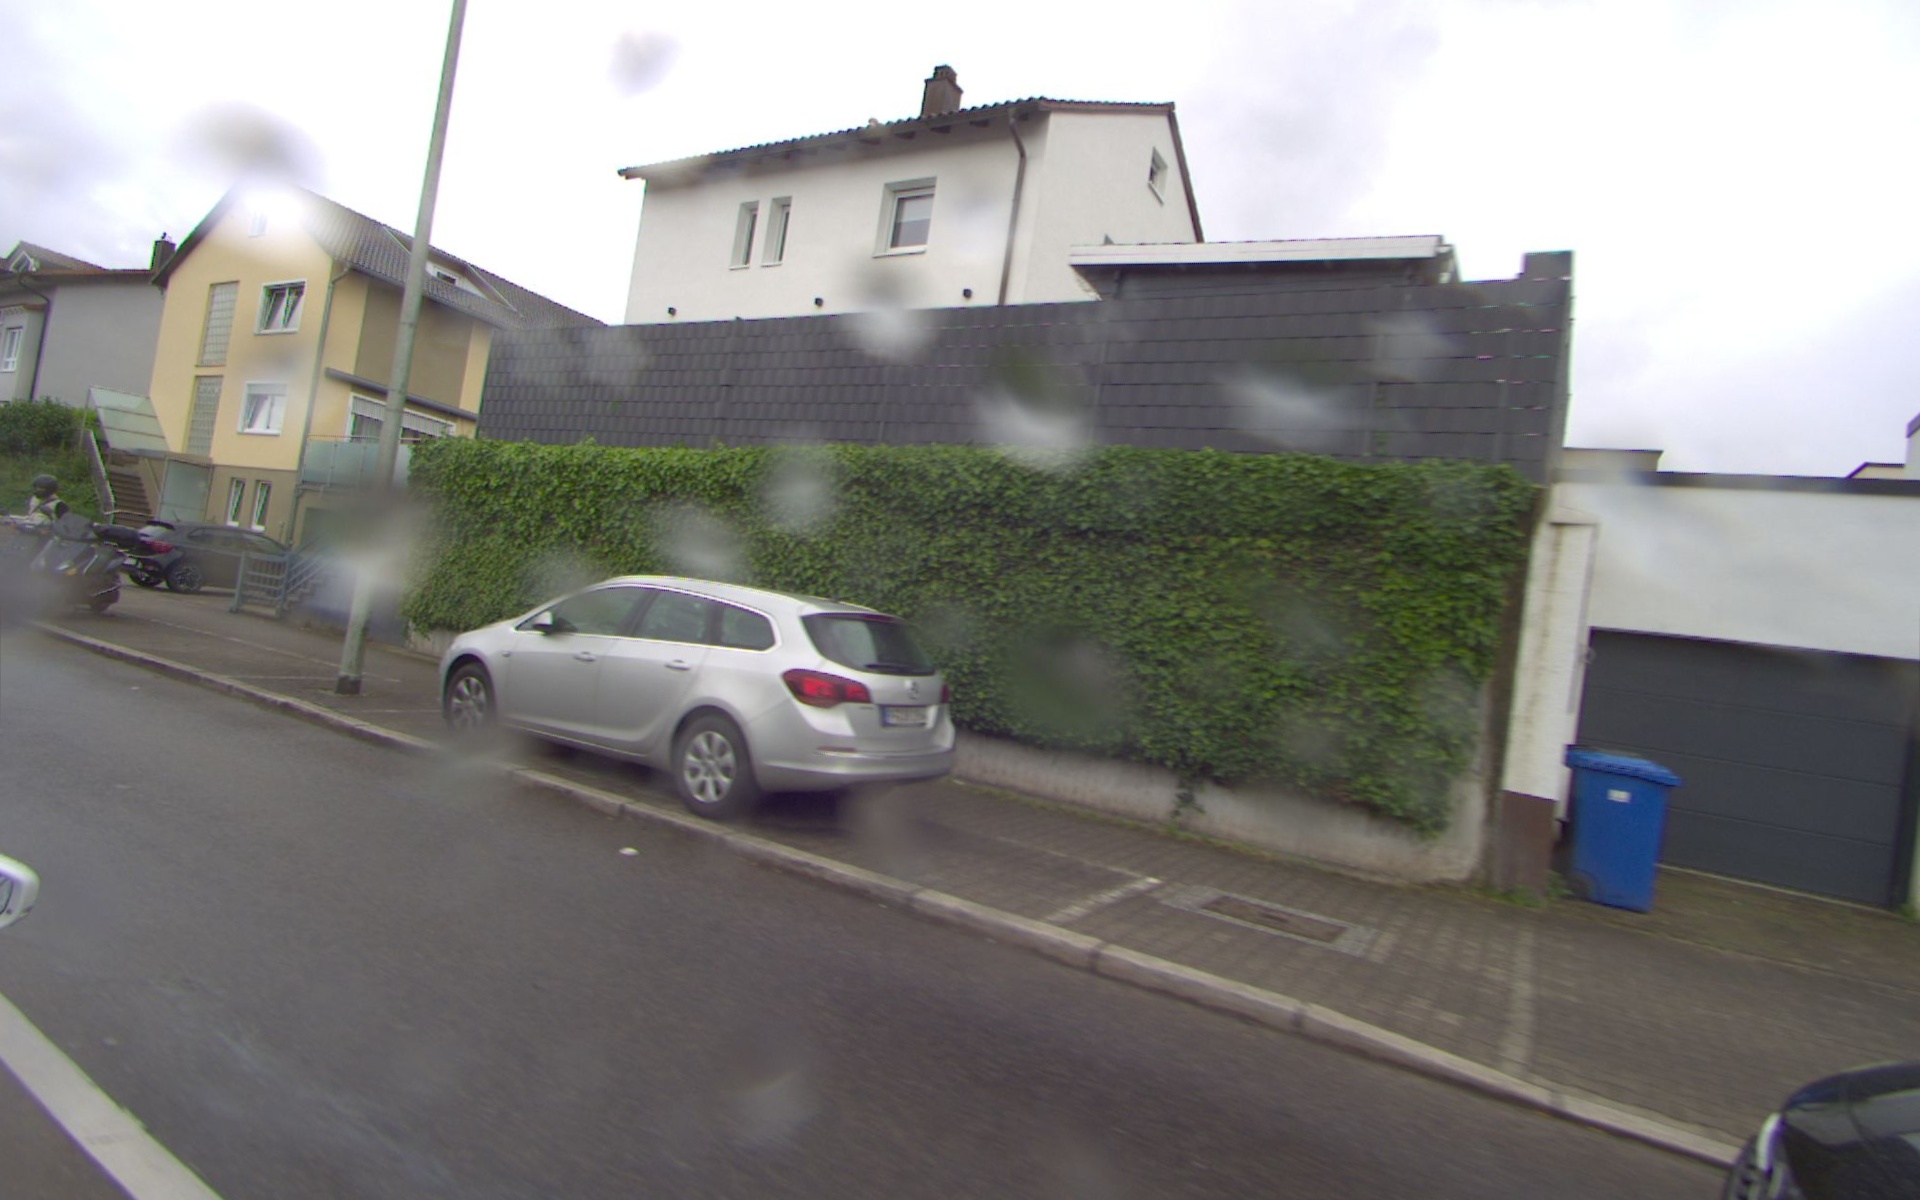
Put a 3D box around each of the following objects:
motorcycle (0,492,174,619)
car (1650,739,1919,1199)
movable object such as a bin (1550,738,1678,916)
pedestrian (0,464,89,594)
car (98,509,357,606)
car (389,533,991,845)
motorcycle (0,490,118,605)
[{"bbox_3d":[-11.704,-0.554,13.509,0.809,1.468,2.085,8,-1,-12],"label":"motorcycle"},{"bbox_3d":[3.181,1.204,0.995,3.934,1.466,1.760,7,-2,32],"label":"car"},{"bbox_3d":[4.848,1.656,7.498,0.656,1.119,0.596,7,1,31],"label":"movable object such as a bin"},{"bbox_3d":[-12.980,-0.970,14.129,0.612,1.668,0.831,8,-1,-13],"label":"pedestrian"},{"bbox_3d":[-15.581,-0.848,21.621,1.837,1.450,3.996,7,-2,30],"label":"car"},{"bbox_3d":[-2.190,0.530,7.689,4.459,1.527,1.704,7,-2,31],"label":"car"},{"bbox_3d":[-13.050,-0.718,14.185,0.747,1.467,2.086,8,-2,-12],"label":"motorcycle"}]
